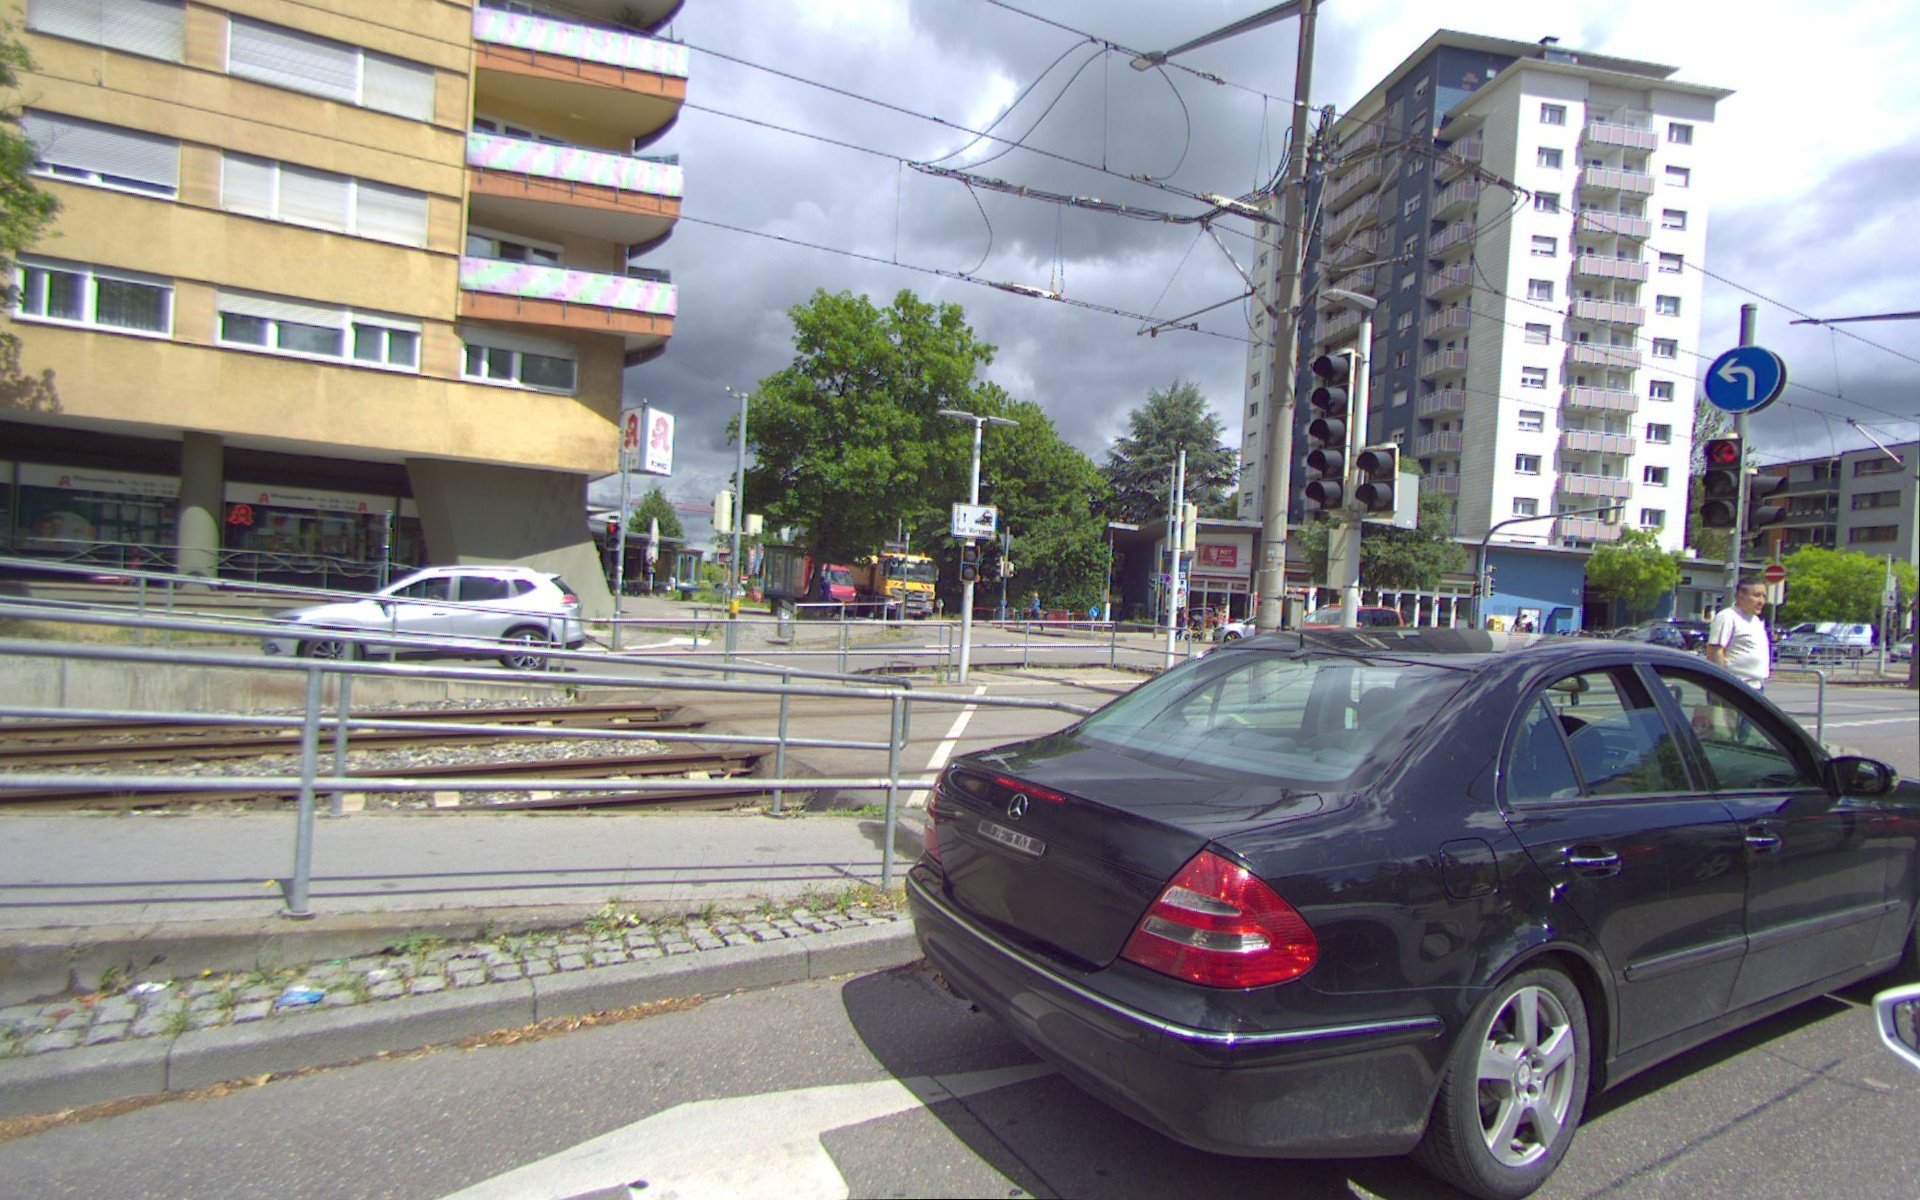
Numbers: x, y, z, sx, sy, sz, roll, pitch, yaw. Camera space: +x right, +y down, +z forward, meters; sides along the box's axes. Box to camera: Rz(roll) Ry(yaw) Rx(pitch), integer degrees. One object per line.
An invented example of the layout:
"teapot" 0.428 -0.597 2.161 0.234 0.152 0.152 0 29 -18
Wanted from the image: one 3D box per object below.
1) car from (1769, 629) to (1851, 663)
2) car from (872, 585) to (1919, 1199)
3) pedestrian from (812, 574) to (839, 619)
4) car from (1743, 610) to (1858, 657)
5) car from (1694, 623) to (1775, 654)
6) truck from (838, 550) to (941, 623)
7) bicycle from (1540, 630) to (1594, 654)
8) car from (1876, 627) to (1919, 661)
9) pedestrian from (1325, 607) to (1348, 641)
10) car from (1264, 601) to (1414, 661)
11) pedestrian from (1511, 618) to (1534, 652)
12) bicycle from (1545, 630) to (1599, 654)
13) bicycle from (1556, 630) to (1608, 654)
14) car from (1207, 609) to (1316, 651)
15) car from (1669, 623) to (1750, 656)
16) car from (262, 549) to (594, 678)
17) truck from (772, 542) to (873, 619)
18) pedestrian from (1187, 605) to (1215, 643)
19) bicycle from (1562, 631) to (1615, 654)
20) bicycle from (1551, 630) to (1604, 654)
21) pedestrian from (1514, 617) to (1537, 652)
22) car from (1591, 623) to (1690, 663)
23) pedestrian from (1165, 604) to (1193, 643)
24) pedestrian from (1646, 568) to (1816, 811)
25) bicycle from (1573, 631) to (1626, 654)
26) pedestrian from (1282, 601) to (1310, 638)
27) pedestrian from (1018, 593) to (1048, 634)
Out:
"car" 38.897 2.104 45.941 4.445 1.418 1.625 2 0 -33
"car" 2.076 0.757 3.808 4.490 1.481 1.720 2 0 -30
"pedestrian" -5.065 -0.129 37.722 0.770 1.638 0.759 -1 5 -29
"car" 49.796 1.895 59.757 2.776 2.512 6.724 2 0 17
"car" 42.813 2.101 55.643 1.921 1.558 4.220 2 0 13
"truck" -3.598 -0.622 49.203 2.733 3.244 7.443 1 0 -23
"bicycle" 26.214 1.810 43.408 0.490 0.947 1.934 2 0 -35
"car" 51.634 2.366 54.403 3.827 1.715 1.928 2 0 -30
"pedestrian" 18.072 1.146 48.161 0.693 1.637 0.760 1 1 -43
"car" 11.132 0.903 29.433 4.415 1.656 1.981 1 -1 -35
"pedestrian" 28.537 1.769 50.953 0.931 1.681 1.097 1 -1 31
"bicycle" 26.613 1.824 43.710 0.490 0.947 1.934 2 0 -35
"bicycle" 27.409 1.851 44.290 0.490 0.947 1.934 2 0 -35
"car" 11.682 1.153 38.972 3.920 1.416 1.699 2 0 18
"car" 40.010 2.074 53.729 1.921 1.591 4.220 2 0 13
"car" -8.418 0.248 16.195 4.457 1.825 1.984 1 -1 -31
"truck" -6.863 -0.898 48.862 2.692 3.320 8.877 1 0 -22
"pedestrian" 10.884 1.086 45.372 0.977 1.681 0.969 2 -1 -4
"bicycle" 27.873 1.867 44.567 0.490 0.947 1.934 2 0 -35
"bicycle" 27.024 1.838 43.998 0.490 0.947 1.934 2 0 -35
"pedestrian" 28.019 1.688 49.795 0.931 1.681 1.097 1 -1 31
"car" 26.666 1.658 39.331 4.205 1.433 1.621 1 0 -32
"pedestrian" 9.876 1.054 45.278 0.977 1.681 0.969 2 -1 -4
"pedestrian" 6.229 0.675 8.135 0.734 1.832 0.863 1 1 -33
"bicycle" 28.480 1.887 44.731 0.490 0.947 1.934 2 0 -35
"pedestrian" 18.299 1.068 54.721 1.200 1.942 0.860 1 1 -30
"pedestrian" 3.116 0.565 42.832 0.773 1.636 0.758 6 2 -35
